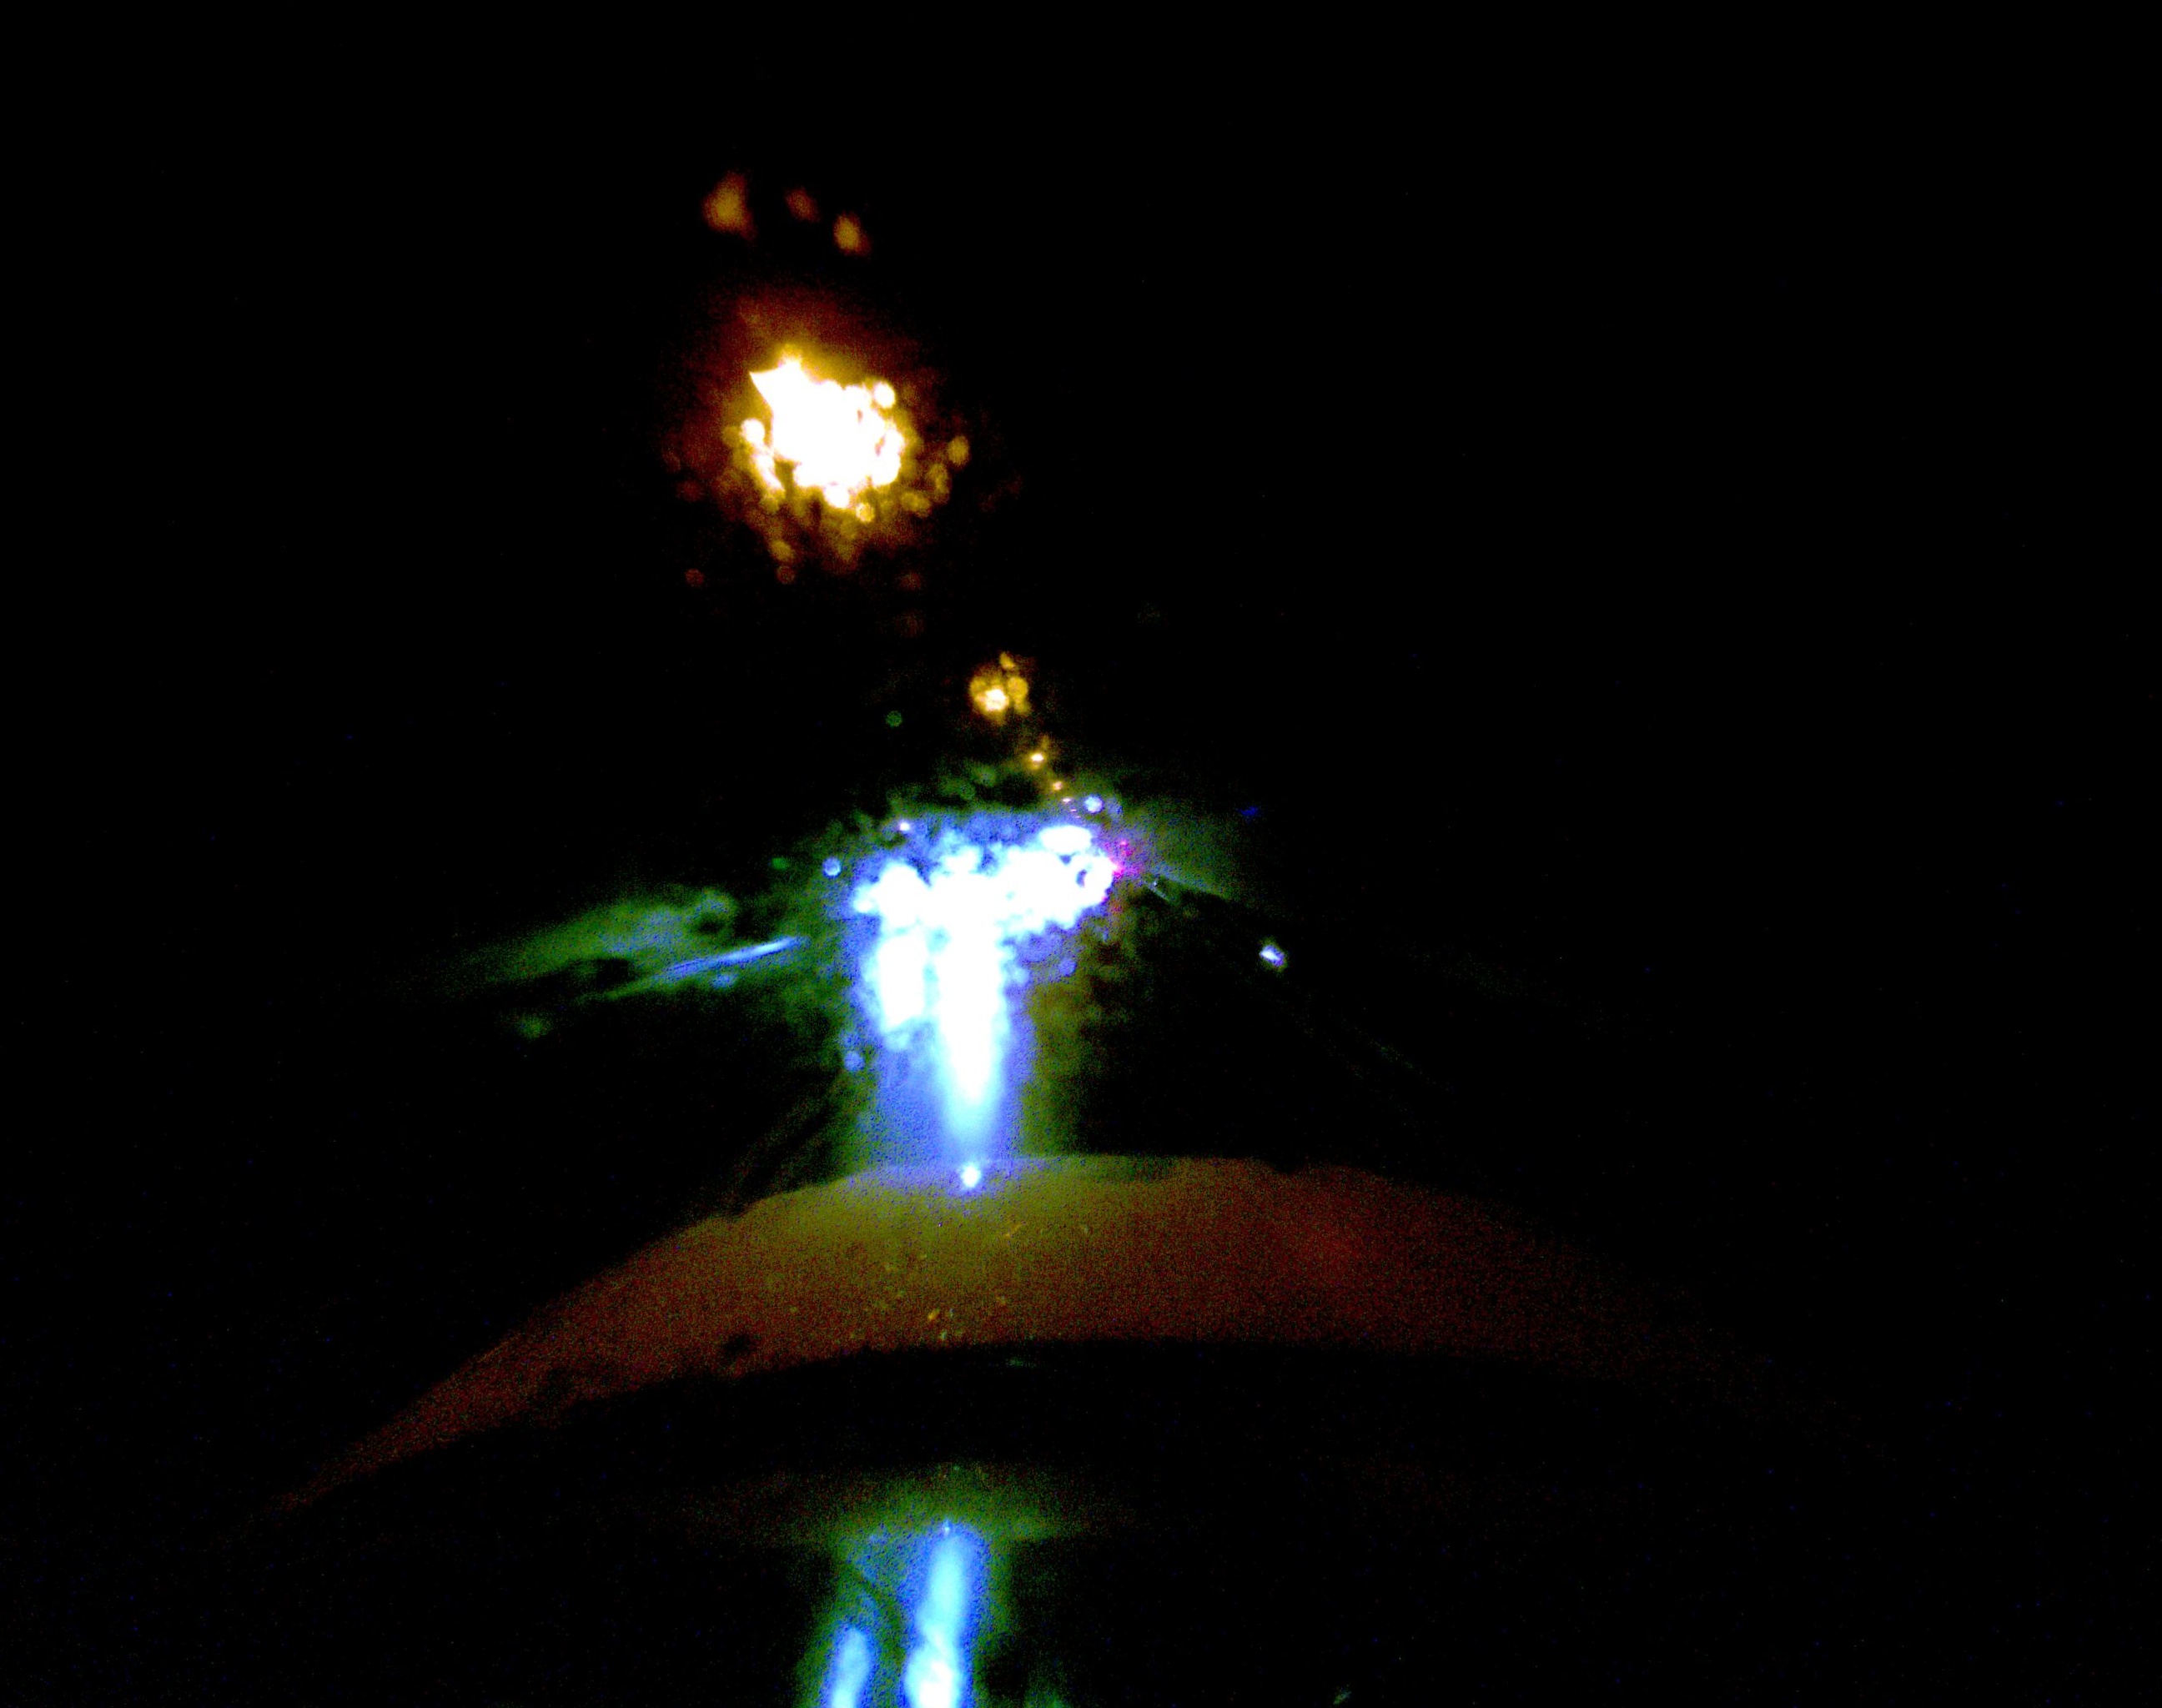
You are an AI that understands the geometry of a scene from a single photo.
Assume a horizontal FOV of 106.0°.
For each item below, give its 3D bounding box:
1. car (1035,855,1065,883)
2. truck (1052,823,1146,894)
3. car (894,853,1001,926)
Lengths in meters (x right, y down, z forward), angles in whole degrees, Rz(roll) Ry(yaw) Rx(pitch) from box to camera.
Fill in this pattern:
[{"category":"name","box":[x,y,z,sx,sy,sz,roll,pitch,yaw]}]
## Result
[{"category":"car","box":[-2.081,1.028,55.223,1.723,1.792,3.933,1,-1,1]},{"category":"truck","box":[0.828,0.180,35.110,3.522,2.693,8.959,0,0,2]},{"category":"car","box":[-2.958,0.742,18.826,1.753,1.480,3.887,-1,0,1]}]
